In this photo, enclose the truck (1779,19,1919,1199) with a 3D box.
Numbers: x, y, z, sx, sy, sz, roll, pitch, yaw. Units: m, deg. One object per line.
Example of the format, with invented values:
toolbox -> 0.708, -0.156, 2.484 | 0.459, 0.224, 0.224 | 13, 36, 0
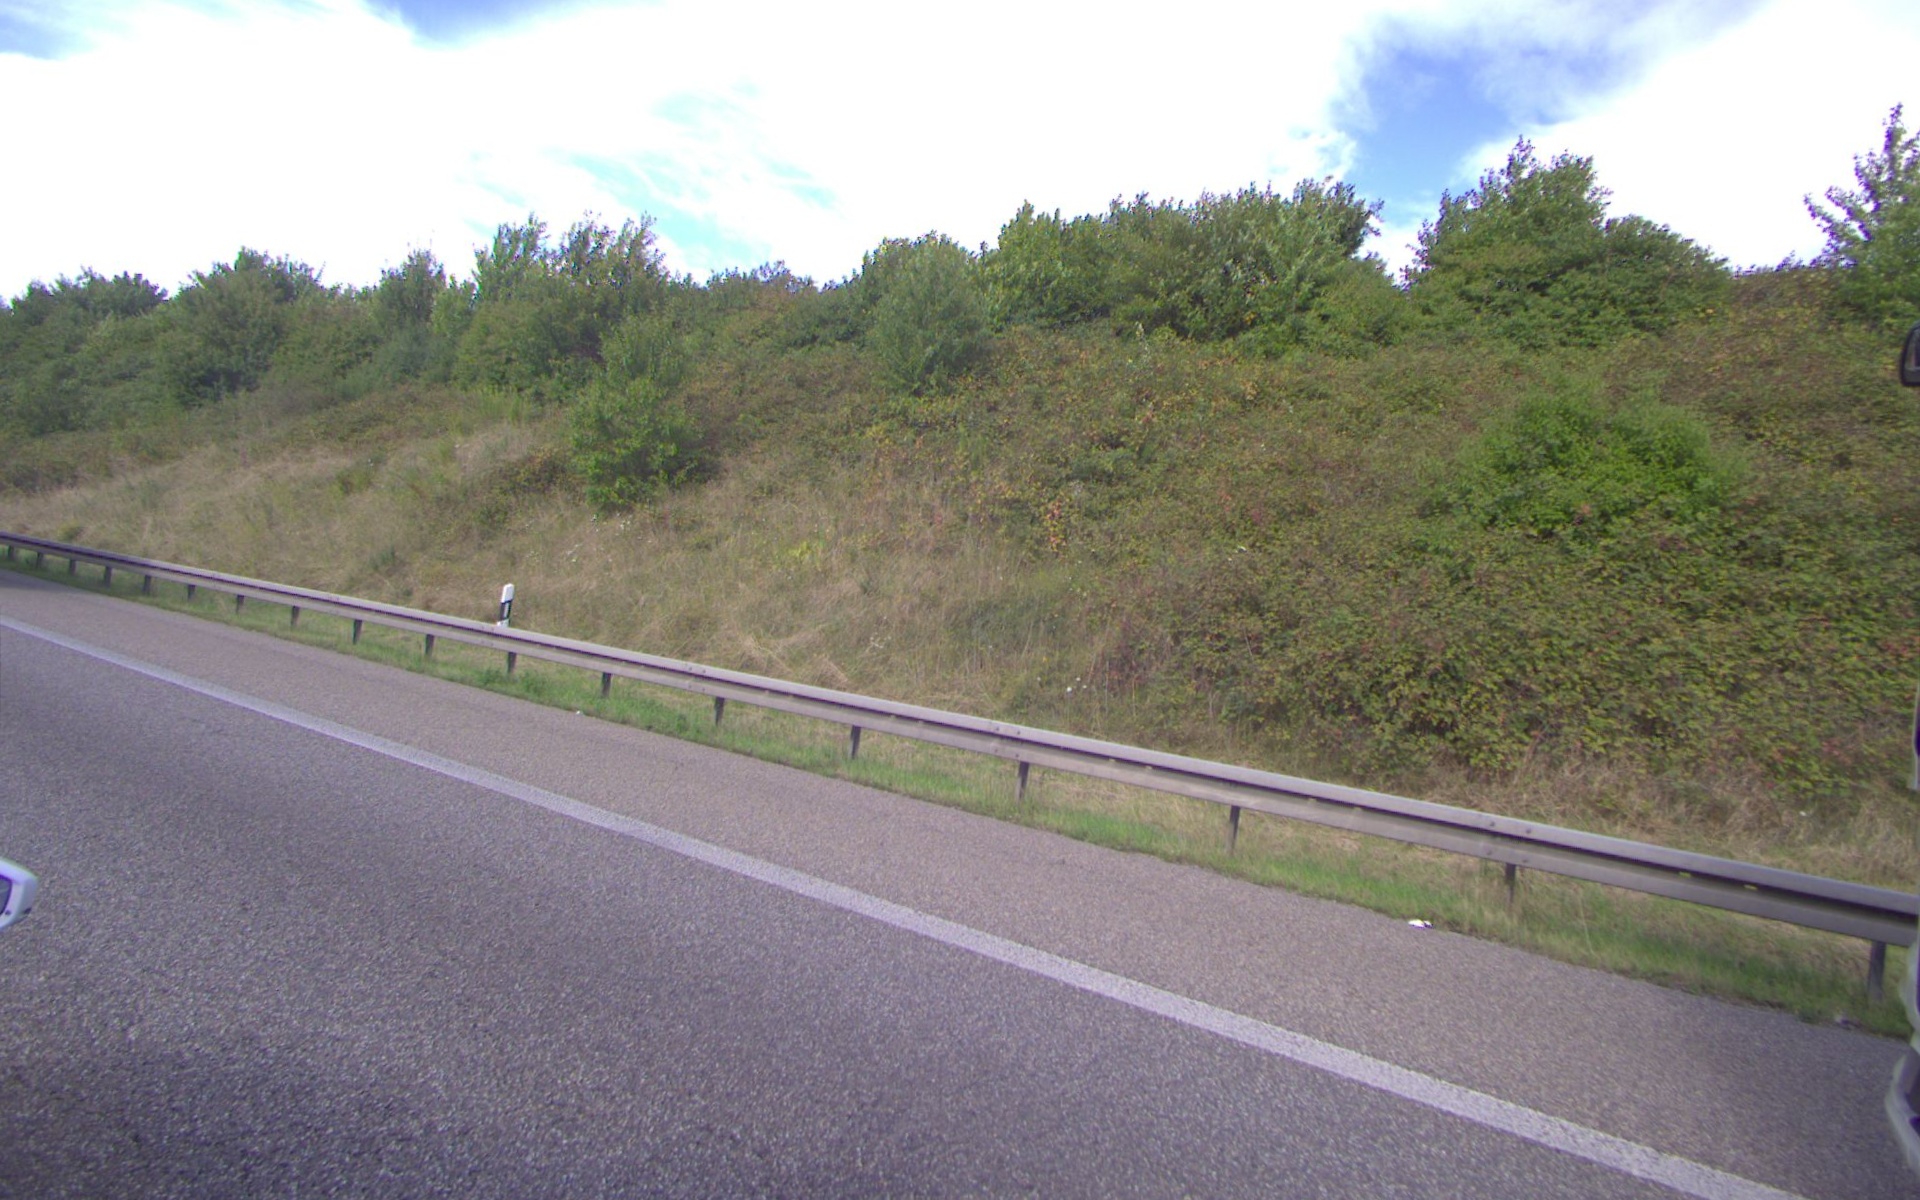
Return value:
truck -> 4.926, 0.083, 0.924 | 5.808, 4.091, 2.806 | 7, -1, 33
